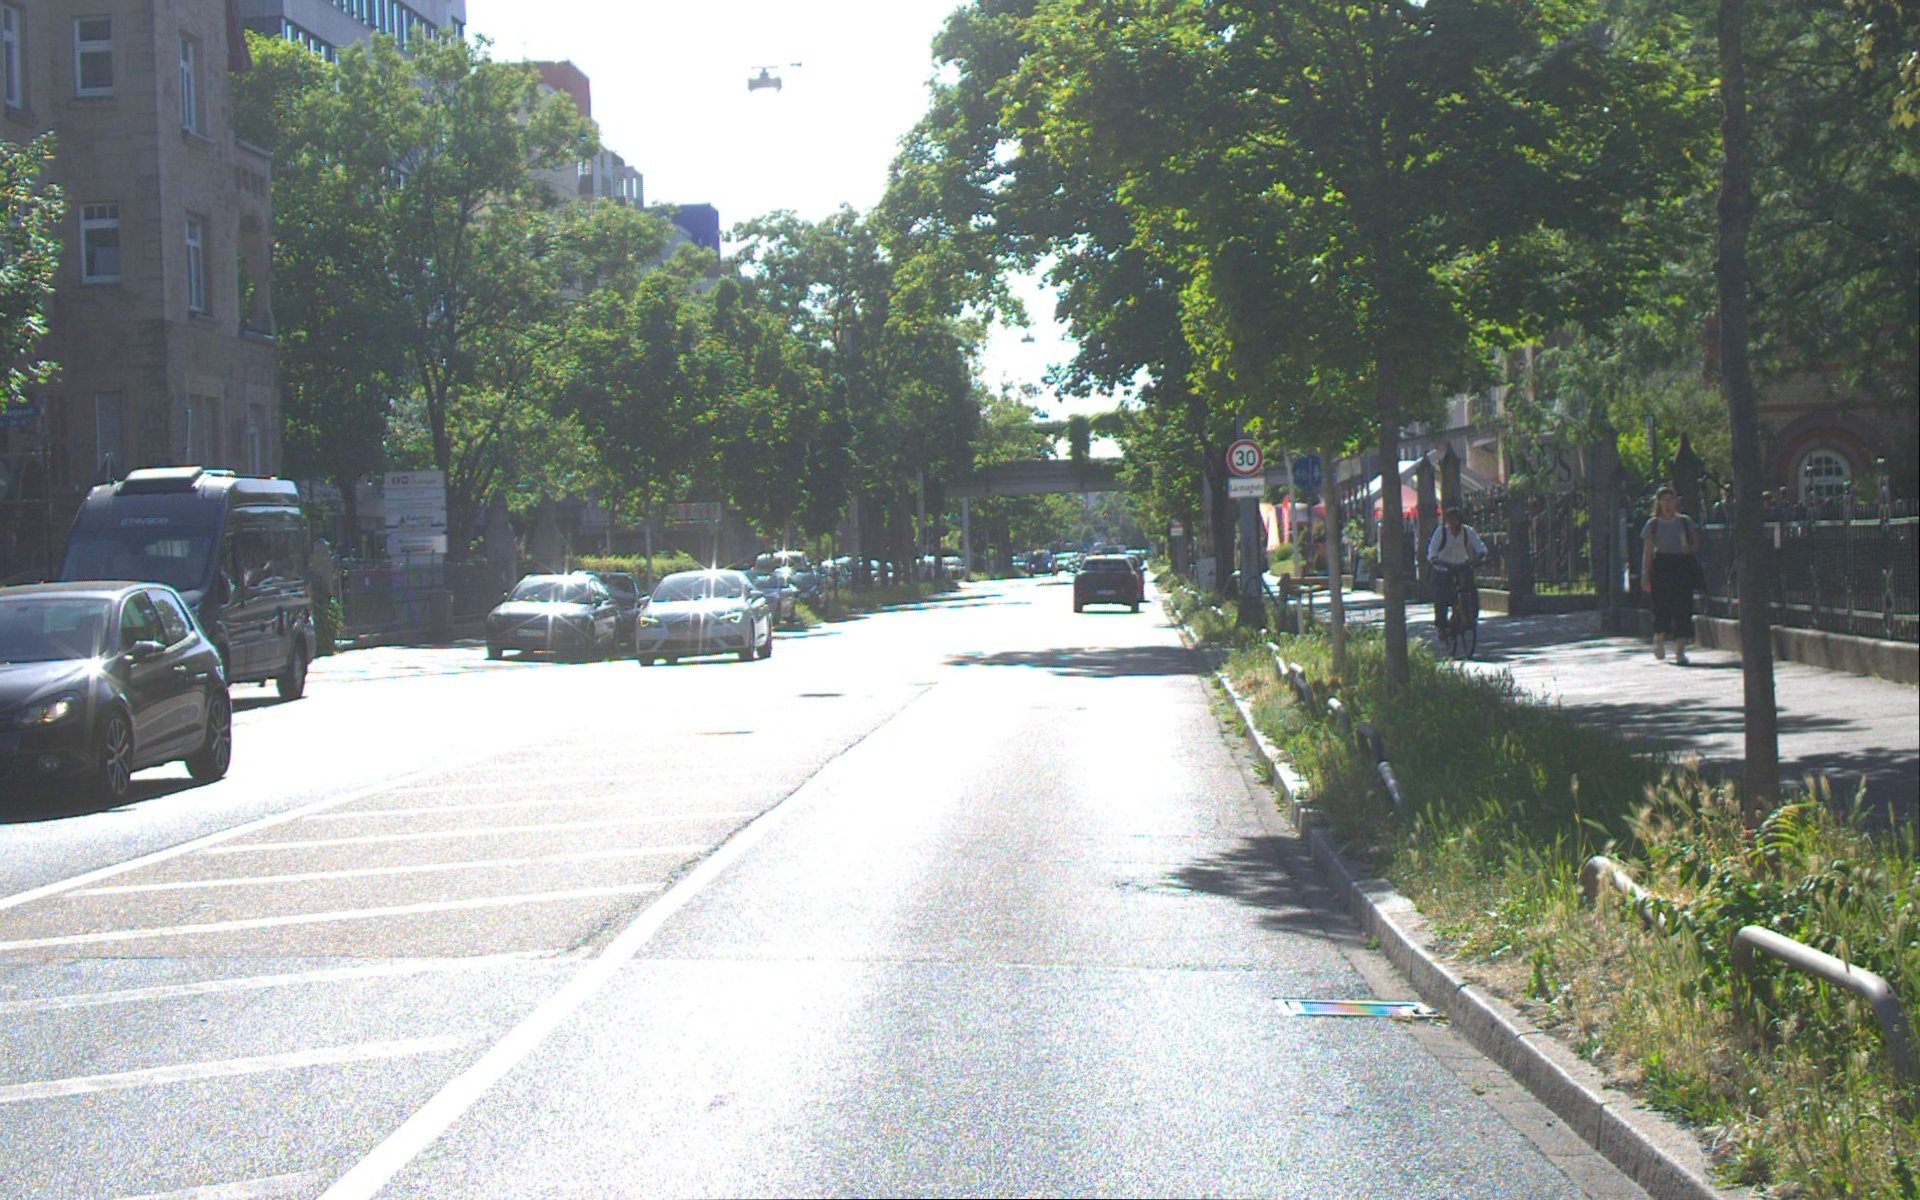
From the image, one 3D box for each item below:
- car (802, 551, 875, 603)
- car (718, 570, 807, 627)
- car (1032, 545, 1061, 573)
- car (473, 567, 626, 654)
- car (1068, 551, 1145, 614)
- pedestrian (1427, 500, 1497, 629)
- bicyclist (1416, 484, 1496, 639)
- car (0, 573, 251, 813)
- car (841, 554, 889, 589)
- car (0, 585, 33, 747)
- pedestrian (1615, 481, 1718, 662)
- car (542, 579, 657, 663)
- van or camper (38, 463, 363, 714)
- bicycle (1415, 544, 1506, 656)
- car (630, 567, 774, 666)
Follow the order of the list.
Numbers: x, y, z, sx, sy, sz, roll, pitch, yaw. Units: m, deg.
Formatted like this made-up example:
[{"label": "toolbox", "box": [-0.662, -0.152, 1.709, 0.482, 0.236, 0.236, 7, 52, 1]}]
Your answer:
[{"label": "car", "box": [-3.591, -0.688, 102.184, 1.712, 1.453, 4.071, -1, 1, 4]}, {"label": "car", "box": [-5.192, -0.058, 90.656, 1.688, 1.378, 4.190, -1, 1, 6]}, {"label": "car", "box": [6.090, -2.886, 241.480, 1.856, 1.819, 4.610, -4, 1, 2]}, {"label": "car", "box": [-7.294, 0.156, 61.473, 1.856, 1.422, 4.719, 2, 1, 4]}, {"label": "car", "box": [3.947, -0.499, 93.359, 1.985, 1.595, 4.140, -2, 1, 2]}, {"label": "pedestrian", "box": [7.247, -0.517, 49.606, 0.748, 1.781, 0.810, -5, 1, 17]}, {"label": "bicyclist", "box": [5.601, -0.438, 38.862, 0.620, 1.684, 0.820, -6, 1, -1]}, {"label": "car", "box": [-6.227, 0.589, 23.672, 1.592, 1.445, 4.133, -2, 1, 3]}, {"label": "car", "box": [-4.355, -1.325, 158.271, 1.856, 1.563, 3.871, -1, 1, 3]}, {"label": "car", "box": [-9.421, 0.676, 28.921, 1.780, 1.408, 4.405, -4, 1, 3]}, {"label": "pedestrian", "box": [6.751, -0.274, 32.883, 0.695, 1.652, 0.820, -5, 0, 2]}, {"label": "car", "box": [-6.929, 0.372, 66.504, 1.855, 1.489, 4.706, 1, 1, -2]}, {"label": "van or camper", "box": [-9.044, -0.192, 41.592, 2.216, 2.730, 6.088, -2, 1, 3]}, {"label": "bicycle", "box": [5.643, -0.015, 38.855, 0.616, 1.172, 1.919, -6, 1, -1]}, {"label": "car", "box": [-3.997, 0.226, 53.799, 1.918, 1.414, 4.225, -2, 1, 0]}]
